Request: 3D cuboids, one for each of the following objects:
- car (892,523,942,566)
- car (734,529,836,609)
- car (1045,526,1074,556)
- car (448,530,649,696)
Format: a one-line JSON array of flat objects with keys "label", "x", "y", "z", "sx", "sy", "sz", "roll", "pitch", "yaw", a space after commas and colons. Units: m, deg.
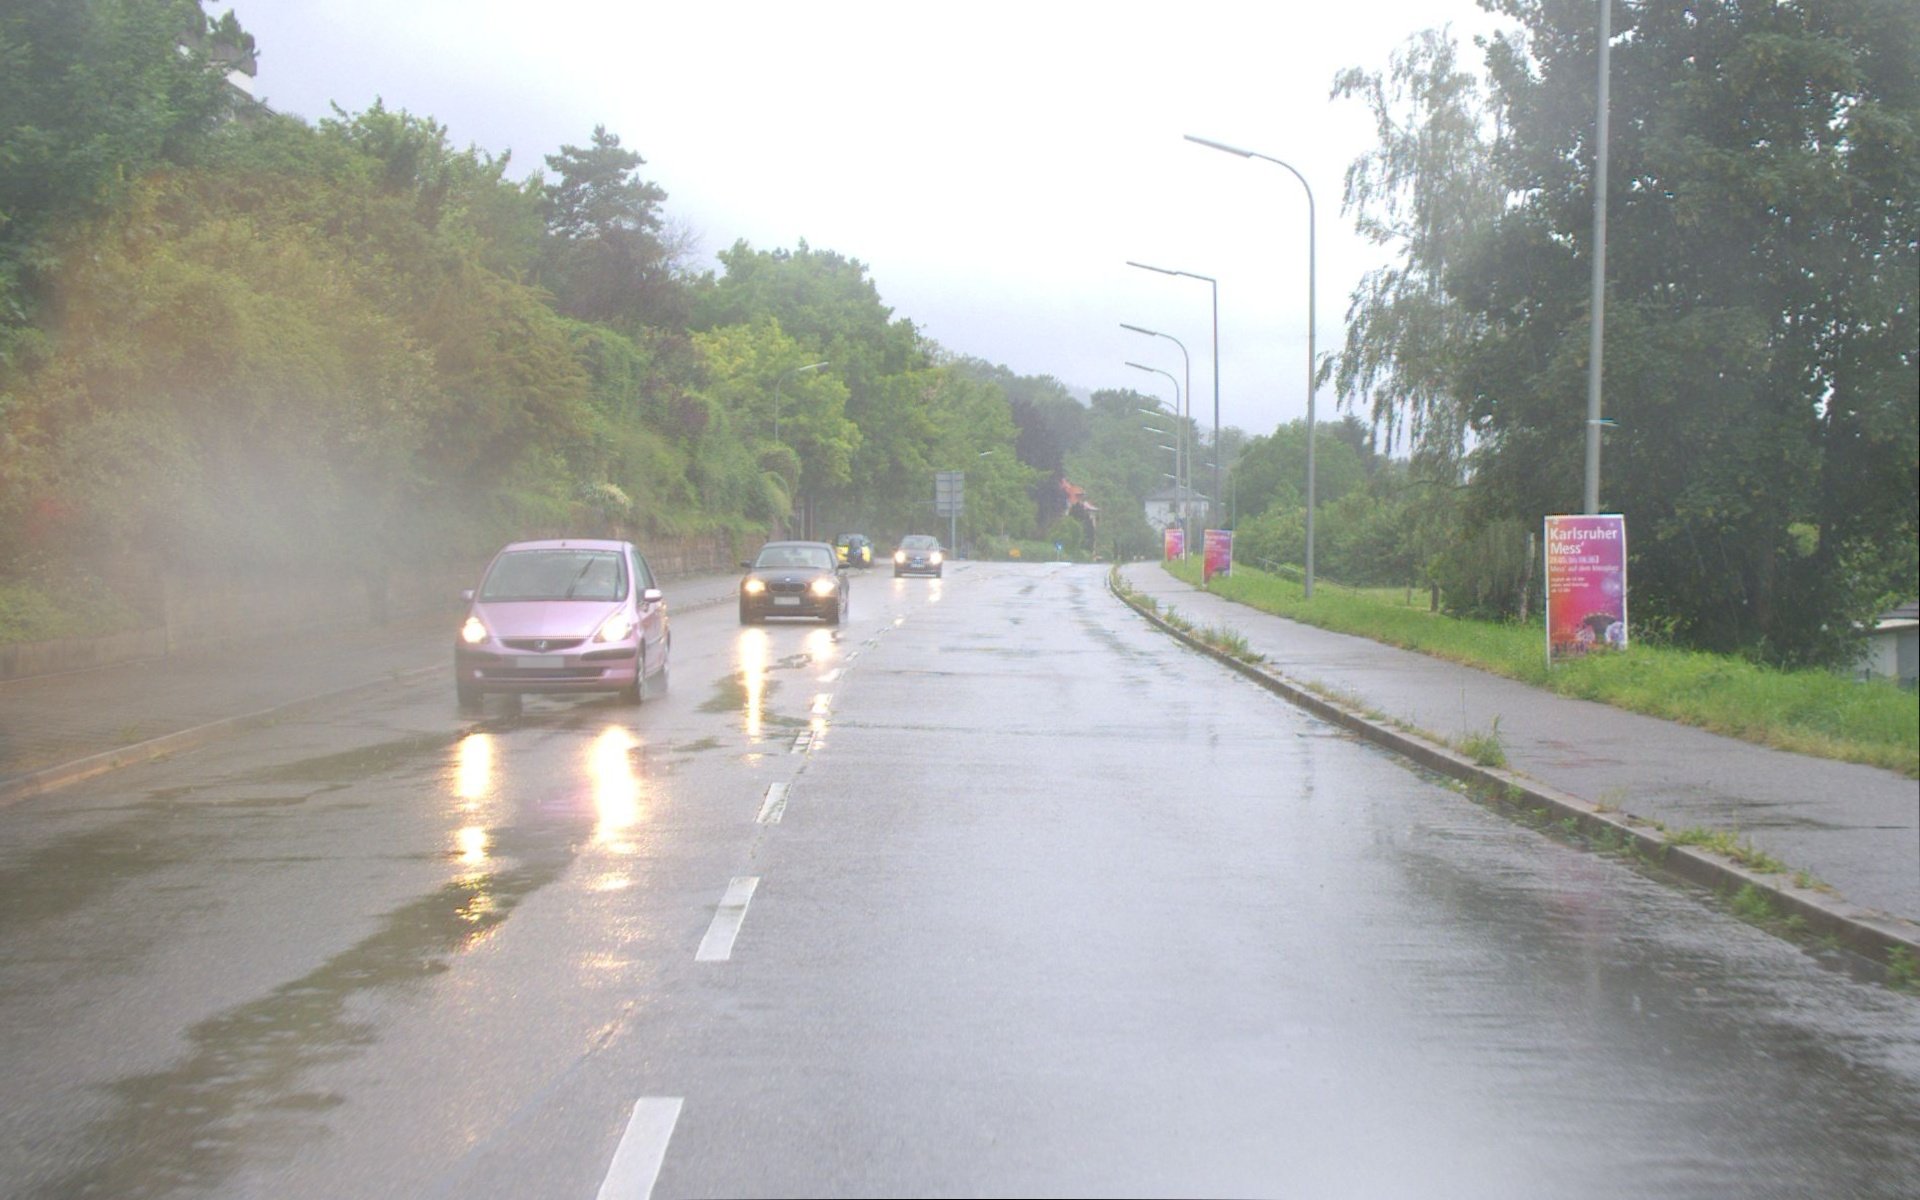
[{"label": "car", "x": -1.547, "y": -2.009, "z": 124.214, "sx": 1.760, "sy": 1.491, "sz": 4.128, "roll": 0, "pitch": 1, "yaw": -1}, {"label": "car", "x": -3.020, "y": -0.560, "z": 59.926, "sx": 1.654, "sy": 1.347, "sz": 3.988, "roll": 0, "pitch": 1, "yaw": -1}, {"label": "car", "x": 6.903, "y": -4.100, "z": 238.927, "sx": 1.993, "sy": 2.007, "sz": 4.000, "roll": 1, "pitch": 1, "yaw": 1}, {"label": "car", "x": -3.797, "y": 0.085, "z": 32.146, "sx": 1.662, "sy": 1.456, "sz": 3.663, "roll": 0, "pitch": 1, "yaw": -4}]
